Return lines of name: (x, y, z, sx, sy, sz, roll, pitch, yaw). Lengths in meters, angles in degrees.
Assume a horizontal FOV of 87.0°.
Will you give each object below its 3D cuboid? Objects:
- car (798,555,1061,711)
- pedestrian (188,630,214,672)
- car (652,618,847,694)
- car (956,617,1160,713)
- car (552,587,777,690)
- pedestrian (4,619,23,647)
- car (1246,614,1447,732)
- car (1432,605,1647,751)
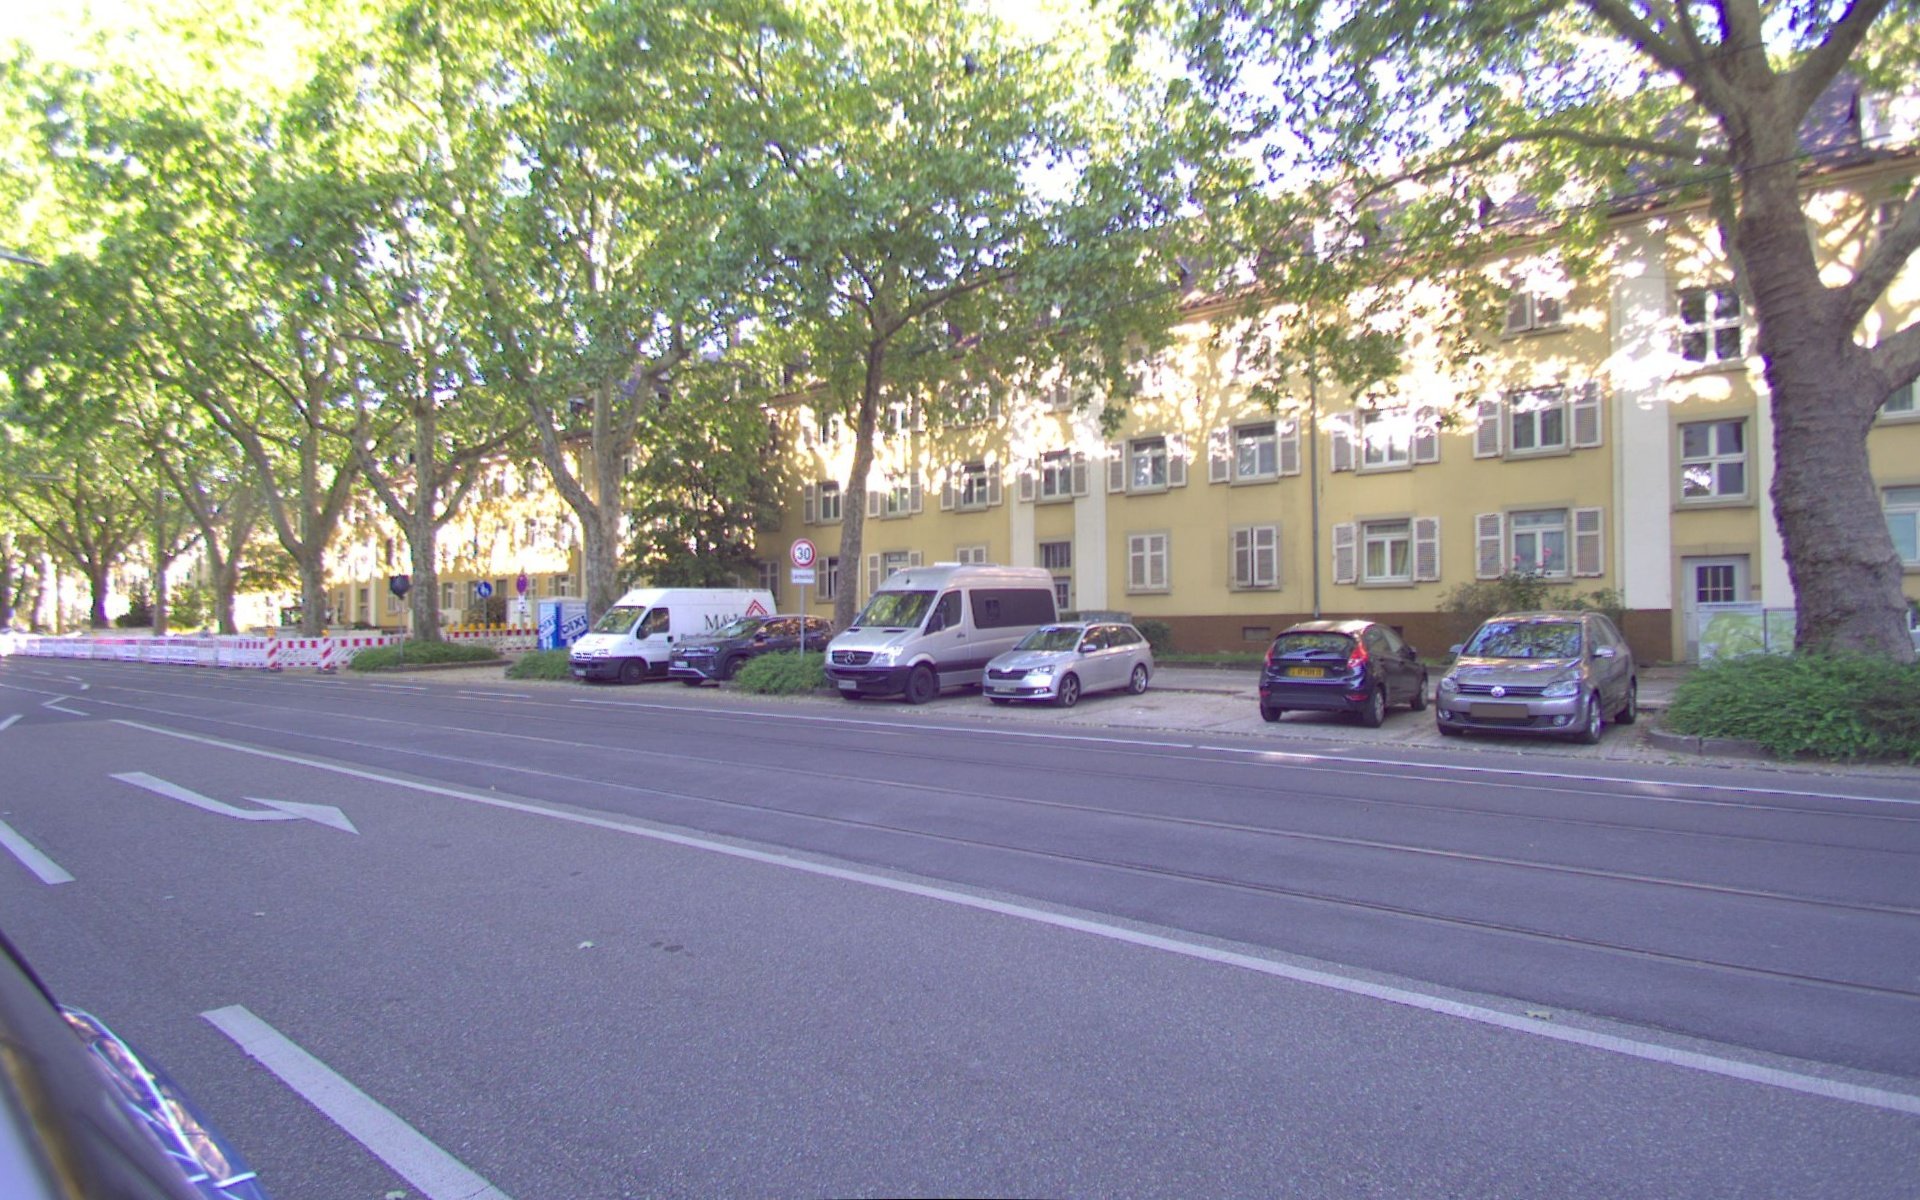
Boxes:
car: (-0.423, 0.612, 20.448, 2.221, 2.702, 5.596, -2, -1, 38)
pedestrian: (-32.196, 2.145, 42.935, 0.642, 1.759, 0.584, -1, 0, -9)
car: (-4.975, 1.280, 24.448, 1.772, 1.664, 4.570, -2, -2, 38)
car: (1.916, 1.125, 18.836, 1.773, 1.509, 4.031, -2, -1, 41)
car: (-7.557, 0.968, 26.375, 2.222, 2.394, 5.336, -2, -2, 40)
pedestrian: (-66.229, 2.307, 70.795, 0.724, 1.900, 0.664, -1, 0, 4)
car: (5.970, 1.004, 15.419, 1.671, 1.509, 3.756, -2, -1, 41)
car: (7.747, 0.902, 13.368, 1.672, 1.592, 3.928, -2, -1, 41)
